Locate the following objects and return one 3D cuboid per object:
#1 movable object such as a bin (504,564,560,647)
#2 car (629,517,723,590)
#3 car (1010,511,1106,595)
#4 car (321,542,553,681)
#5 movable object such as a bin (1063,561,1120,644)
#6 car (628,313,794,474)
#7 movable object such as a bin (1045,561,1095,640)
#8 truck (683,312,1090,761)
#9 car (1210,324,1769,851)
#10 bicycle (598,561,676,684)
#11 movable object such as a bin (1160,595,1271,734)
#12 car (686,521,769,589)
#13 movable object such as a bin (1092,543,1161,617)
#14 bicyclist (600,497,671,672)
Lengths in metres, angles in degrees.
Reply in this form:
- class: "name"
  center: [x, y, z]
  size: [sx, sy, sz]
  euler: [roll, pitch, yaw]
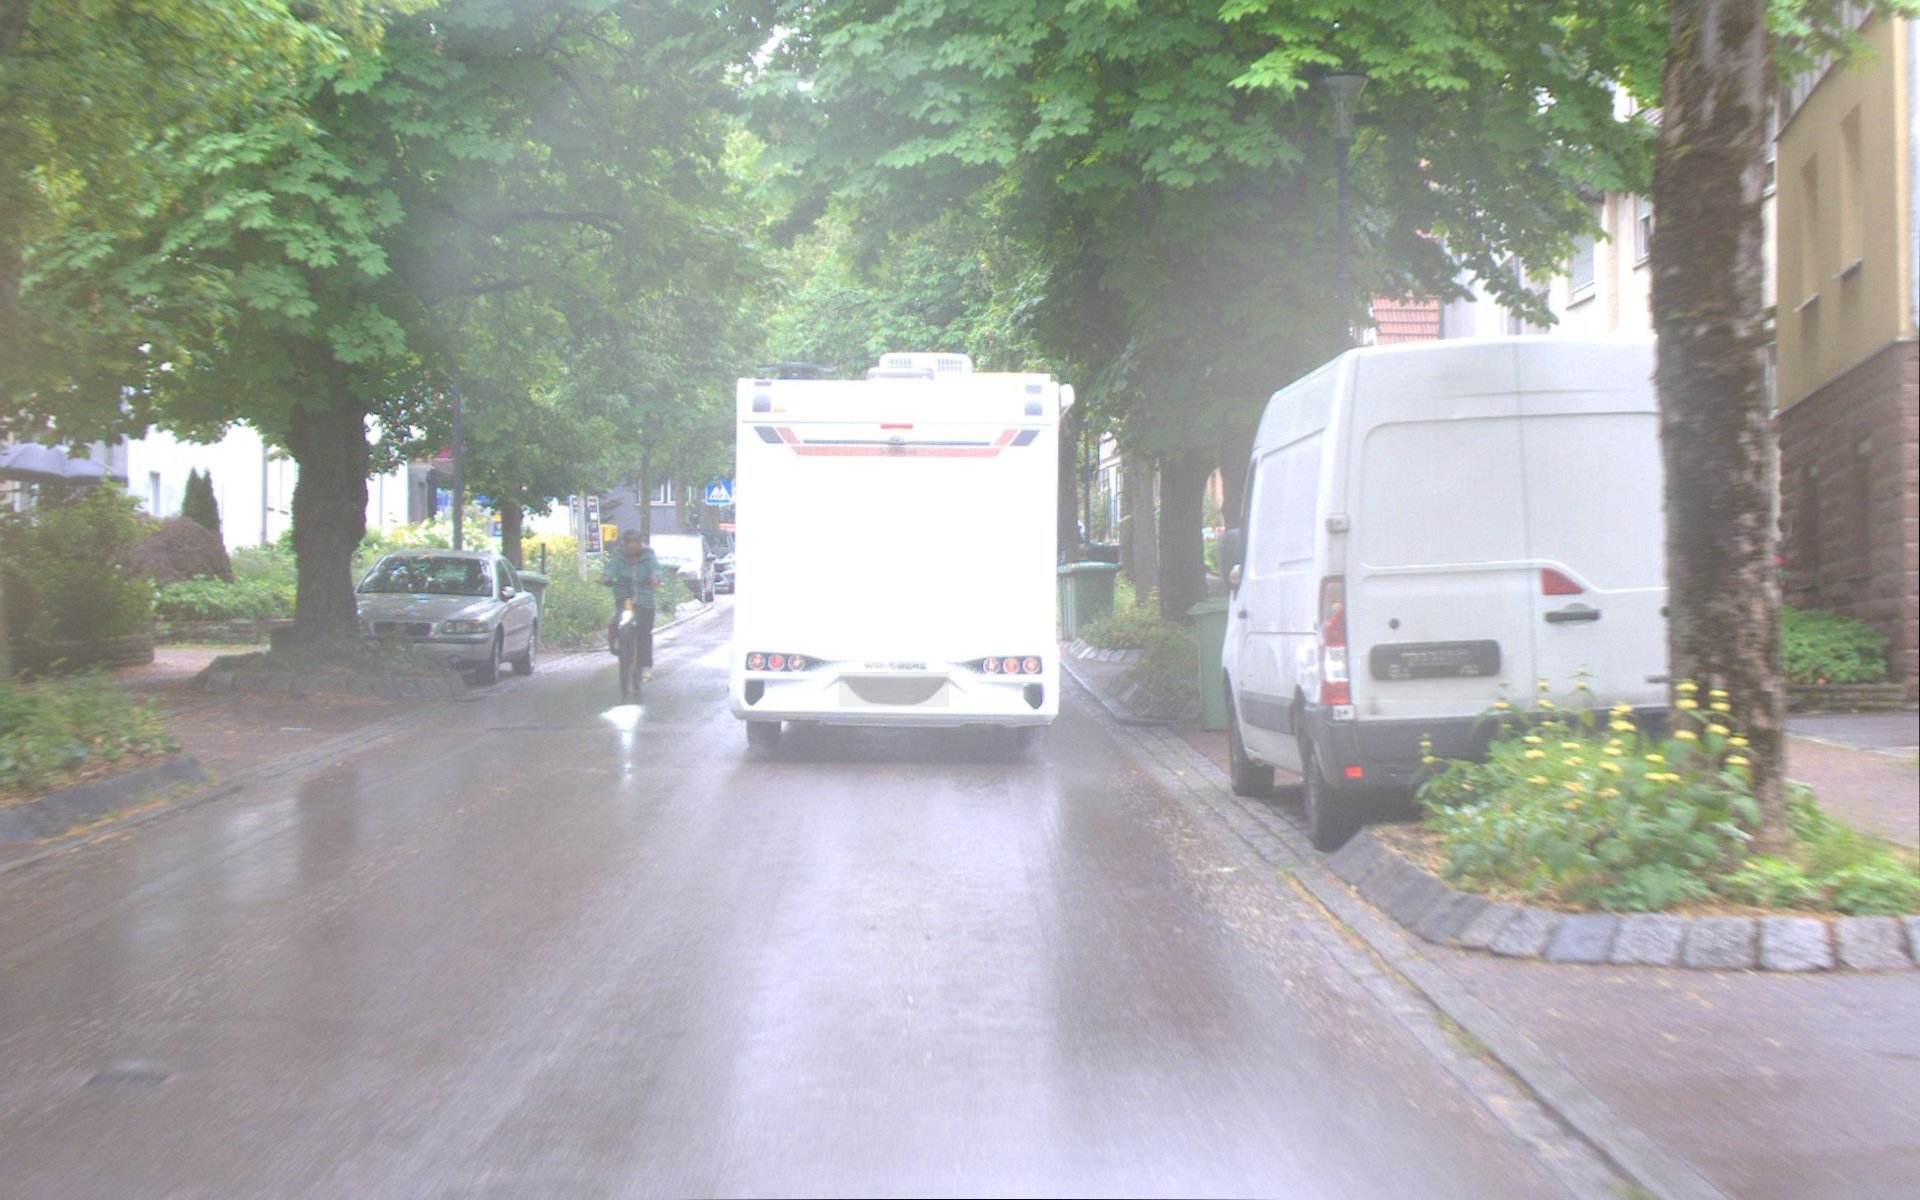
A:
- class: "movable object such as a bin"
  center: [-5.658, 0.069, 45.483]
  size: [0.595, 1.059, 0.545]
  euler: [3, 1, 3]
- class: "car"
  center: [-6.250, -1.045, 75.904]
  size: [1.647, 1.528, 3.866]
  euler: [1, 1, 1]
- class: "car"
  center: [2.137, -1.051, 76.036]
  size: [1.914, 1.786, 4.489]
  euler: [0, 1, -1]
- class: "car"
  center: [-5.700, 0.081, 37.969]
  size: [1.772, 1.384, 4.545]
  euler: [2, 1, 1]
- class: "movable object such as a bin"
  center: [1.745, 0.031, 45.591]
  size: [0.688, 1.079, 0.541]
  euler: [0, 1, -4]
- class: "car"
  center: [-3.371, -2.796, 47.252]
  size: [1.993, 2.007, 4.000]
  euler: [0, 1, 0]
- class: "movable object such as a bin"
  center: [1.527, 0.005, 47.776]
  size: [0.643, 1.079, 0.541]
  euler: [0, 1, -4]
- class: "truck"
  center: [-0.517, -0.465, 26.093]
  size: [2.694, 2.975, 6.237]
  euler: [0, 1, -1]
- class: "car"
  center: [2.679, -0.096, 18.822]
  size: [2.141, 2.451, 5.435]
  euler: [0, 1, -1]
- class: "bicycle"
  center: [-3.256, 0.209, 34.786]
  size: [0.627, 1.205, 1.981]
  euler: [0, 1, -1]
- class: "movable object such as a bin"
  center: [2.021, 0.503, 27.271]
  size: [0.797, 1.071, 0.879]
  euler: [0, 1, -1]
- class: "car"
  center: [-5.717, -1.136, 84.785]
  size: [1.771, 1.548, 4.000]
  euler: [2, 1, -1]
- class: "movable object such as a bin"
  center: [3.005, -0.367, 62.264]
  size: [1.225, 1.311, 1.134]
  euler: [0, 1, 2]
- class: "bicyclist"
  center: [-3.256, -0.159, 34.575]
  size: [0.627, 1.725, 0.880]
  euler: [0, 1, -1]
